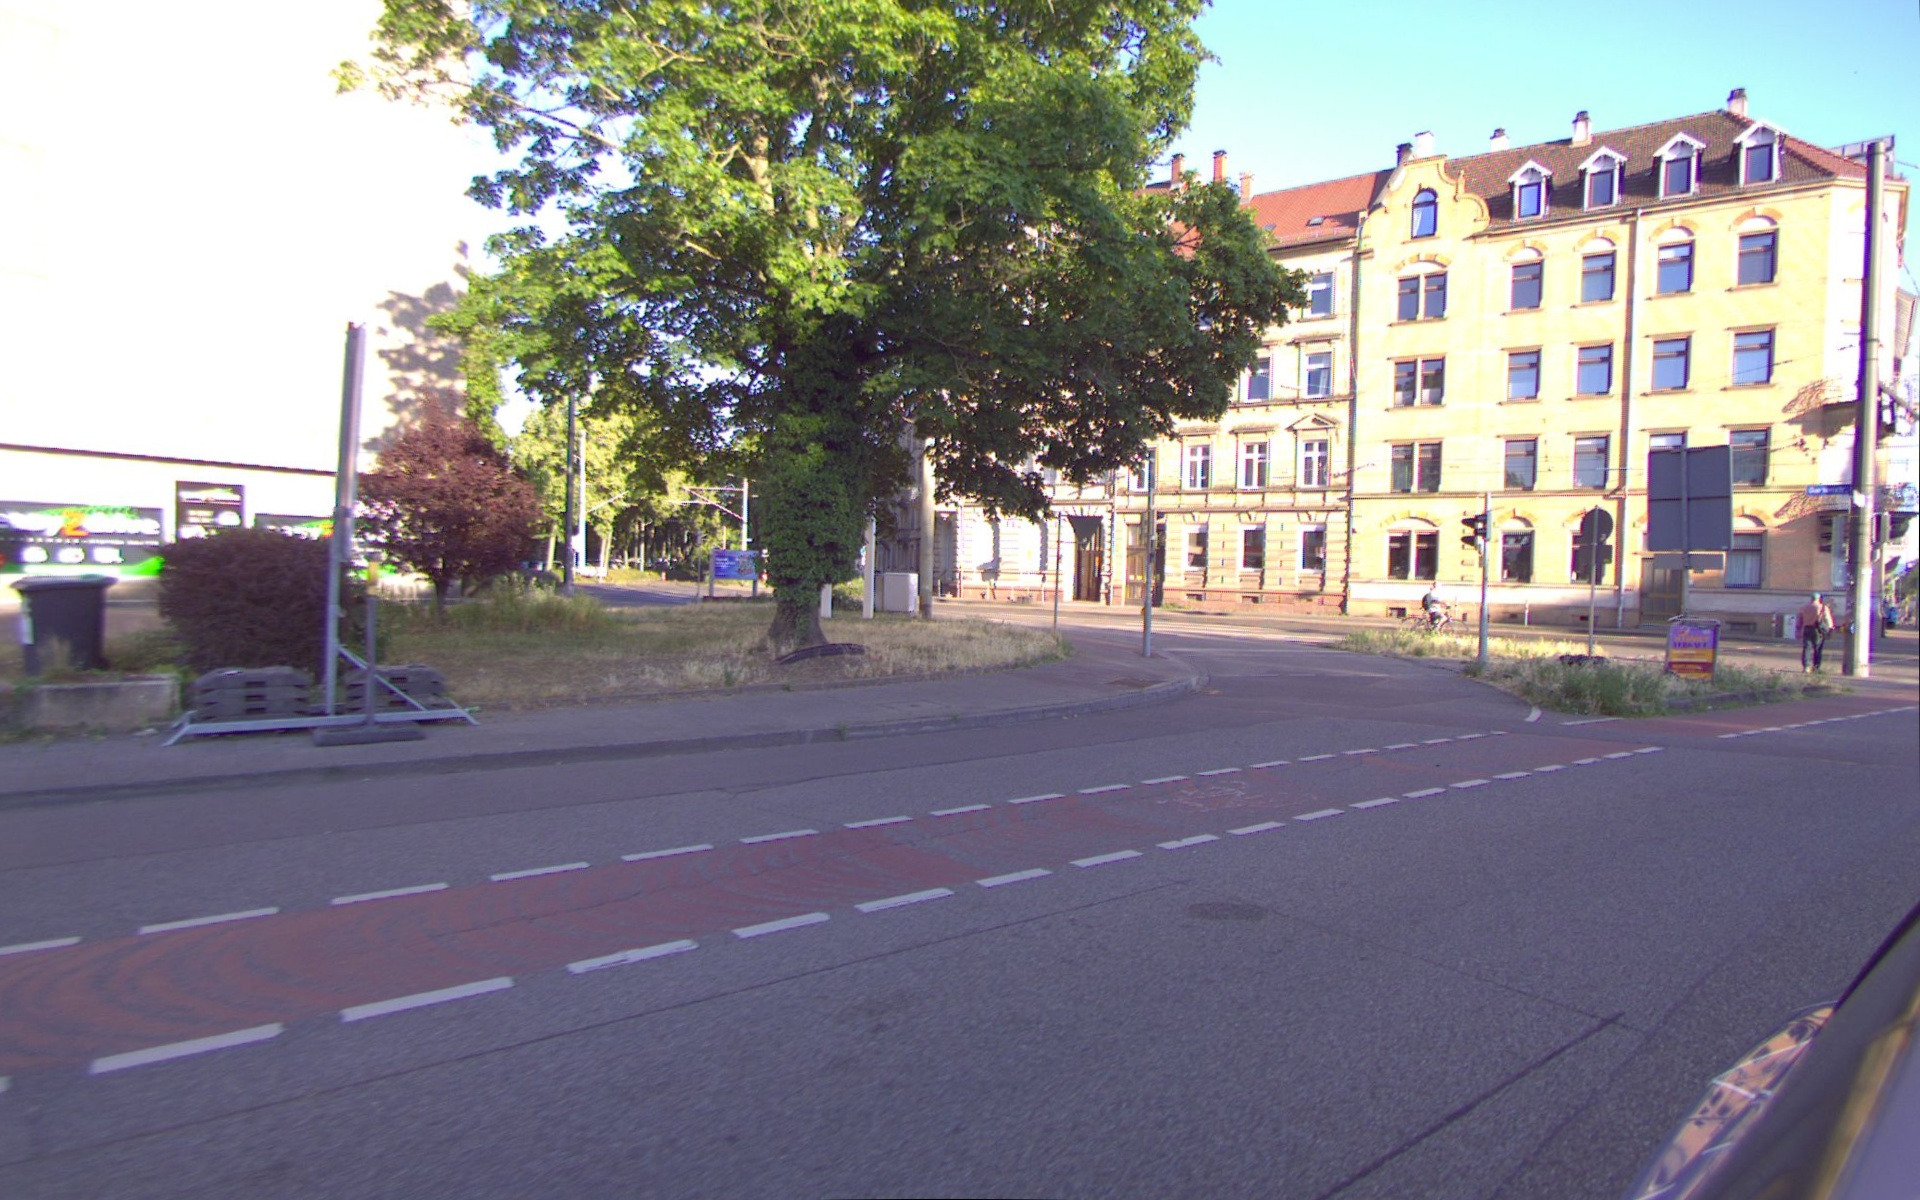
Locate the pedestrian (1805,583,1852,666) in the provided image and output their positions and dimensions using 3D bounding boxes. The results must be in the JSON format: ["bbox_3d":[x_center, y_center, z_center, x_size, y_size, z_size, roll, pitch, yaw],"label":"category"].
[{"bbox_3d":[17.716,0.490,20.649,0.687,1.649,0.554,0,1,-37],"label":"pedestrian"}]

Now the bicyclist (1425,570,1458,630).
[{"bbox_3d":[13.164,-0.013,27.653,0.691,1.603,0.629,2,1,35],"label":"bicyclist"}]

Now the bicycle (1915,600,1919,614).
[{"bbox_3d":[71.177,0.535,74.801,2.300,0.959,0.734,0,3,-44],"label":"bicycle"}]

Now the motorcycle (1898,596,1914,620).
[{"bbox_3d":[49.163,0.408,52.599,0.553,1.229,2.041,0,1,41],"label":"motorcycle"}]

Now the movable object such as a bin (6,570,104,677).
[{"bbox_3d":[-9.006,0.217,10.068,0.706,1.018,0.653,0,0,-44],"label":"movable object such as a bin"}]

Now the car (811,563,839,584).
[{"bbox_3d":[-11.158,-2.219,83.570,1.789,1.638,4.001,1,2,0],"label":"car"}]

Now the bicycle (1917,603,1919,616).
[{"bbox_3d":[69.557,0.682,72.865,0.873,0.927,2.051,4,3,45],"label":"bicycle"}]

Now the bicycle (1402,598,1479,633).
[{"bbox_3d":[13.138,0.411,27.687,1.804,0.839,0.615,2,2,35],"label":"bicycle"}]
